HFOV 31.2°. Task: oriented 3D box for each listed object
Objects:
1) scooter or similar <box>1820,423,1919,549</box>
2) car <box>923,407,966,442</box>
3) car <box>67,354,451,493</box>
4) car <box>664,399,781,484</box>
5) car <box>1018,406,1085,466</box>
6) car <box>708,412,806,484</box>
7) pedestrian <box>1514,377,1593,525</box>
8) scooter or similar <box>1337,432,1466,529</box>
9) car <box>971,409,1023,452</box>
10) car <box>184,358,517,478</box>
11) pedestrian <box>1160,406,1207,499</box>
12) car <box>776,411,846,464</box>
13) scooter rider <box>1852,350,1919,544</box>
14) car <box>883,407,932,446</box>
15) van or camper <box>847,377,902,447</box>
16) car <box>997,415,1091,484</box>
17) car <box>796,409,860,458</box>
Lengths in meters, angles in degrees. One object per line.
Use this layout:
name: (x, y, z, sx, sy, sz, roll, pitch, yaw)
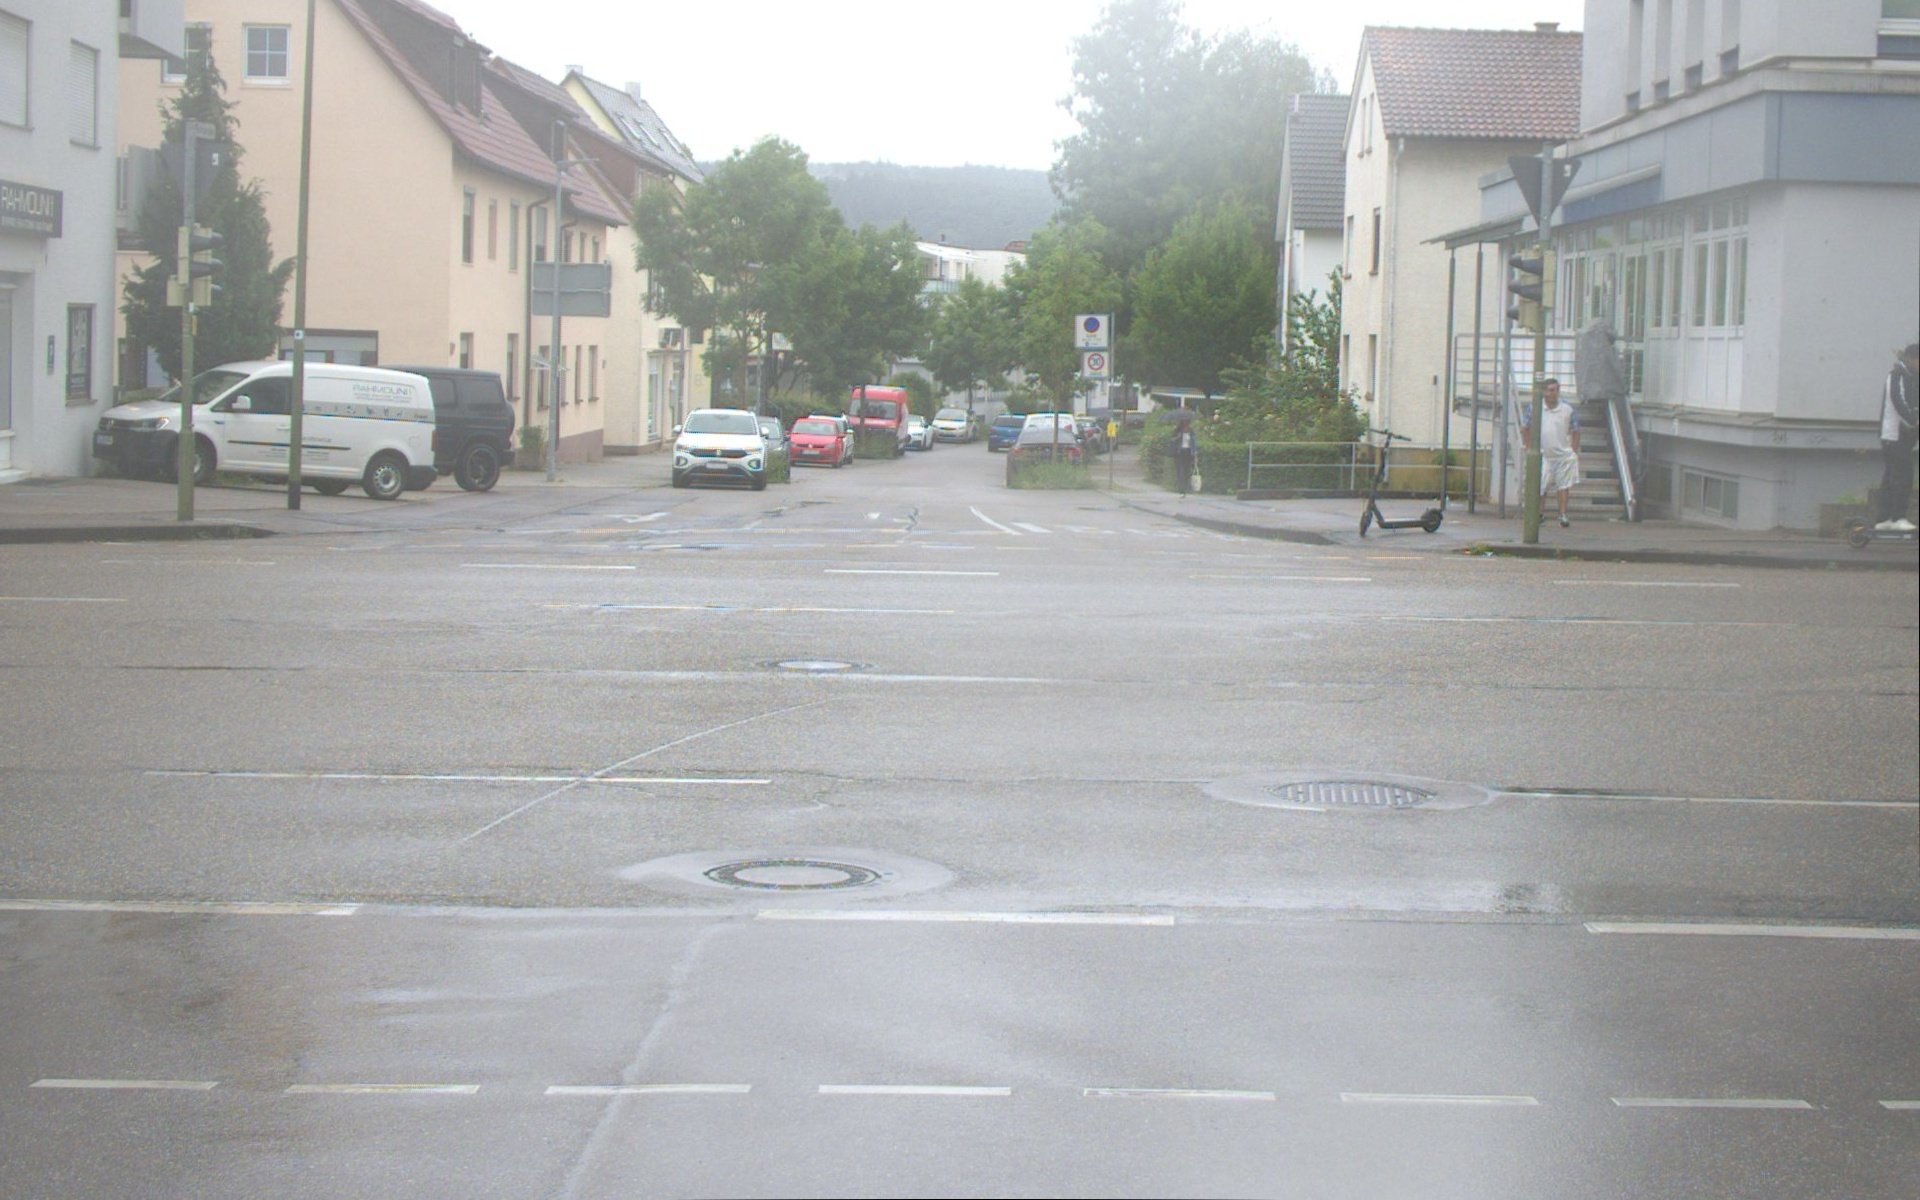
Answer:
scooter or similar: (8.894, -1.081, 32.428, 0.757, 1.167, 1.314, -2, 3, -40)
car: (-0.676, -7.879, 154.507, 1.901, 1.553, 4.192, 0, 3, 0)
car: (-9.656, -2.426, 47.563, 4.830, 1.829, 2.000, -2, 3, -38)
car: (-4.662, -3.137, 67.910, 1.993, 1.620, 4.192, 0, 3, 0)
car: (2.734, -4.936, 103.572, 1.901, 1.739, 4.192, 0, 3, 0)
car: (-4.662, -3.511, 79.367, 1.993, 1.620, 4.192, 0, 3, 0)
pedestrian: (6.796, -1.699, 39.377, 0.647, 1.641, 0.526, 4, 2, -6)
scooter or similar: (4.947, -1.345, 38.576, 1.268, 1.077, 0.877, 0, 3, -4)
car: (1.523, -6.845, 138.964, 1.993, 1.678, 4.000, 0, 3, 2)
car: (-9.633, -2.864, 54.542, 4.830, 1.829, 2.000, -2, 3, -38)
pedestrian: (4.552, -3.001, 70.035, 0.745, 1.842, 0.526, 4, 2, -4)
car: (-4.497, -4.928, 104.257, 1.901, 1.553, 4.192, 0, 3, 0)
scooter rider: (8.919, -1.441, 32.362, 0.752, 1.789, 0.672, -2, 3, -41)
car: (-2.095, -6.977, 138.530, 1.901, 1.553, 4.192, 0, 3, 0)
van or camper: (-3.139, -6.906, 126.651, 1.901, 2.504, 4.239, 0, 3, 0)
car: (1.960, -3.573, 81.372, 2.146, 1.583, 4.128, 0, 3, 0)
car: (-4.311, -5.447, 112.736, 1.901, 1.553, 4.192, 0, 3, 0)
